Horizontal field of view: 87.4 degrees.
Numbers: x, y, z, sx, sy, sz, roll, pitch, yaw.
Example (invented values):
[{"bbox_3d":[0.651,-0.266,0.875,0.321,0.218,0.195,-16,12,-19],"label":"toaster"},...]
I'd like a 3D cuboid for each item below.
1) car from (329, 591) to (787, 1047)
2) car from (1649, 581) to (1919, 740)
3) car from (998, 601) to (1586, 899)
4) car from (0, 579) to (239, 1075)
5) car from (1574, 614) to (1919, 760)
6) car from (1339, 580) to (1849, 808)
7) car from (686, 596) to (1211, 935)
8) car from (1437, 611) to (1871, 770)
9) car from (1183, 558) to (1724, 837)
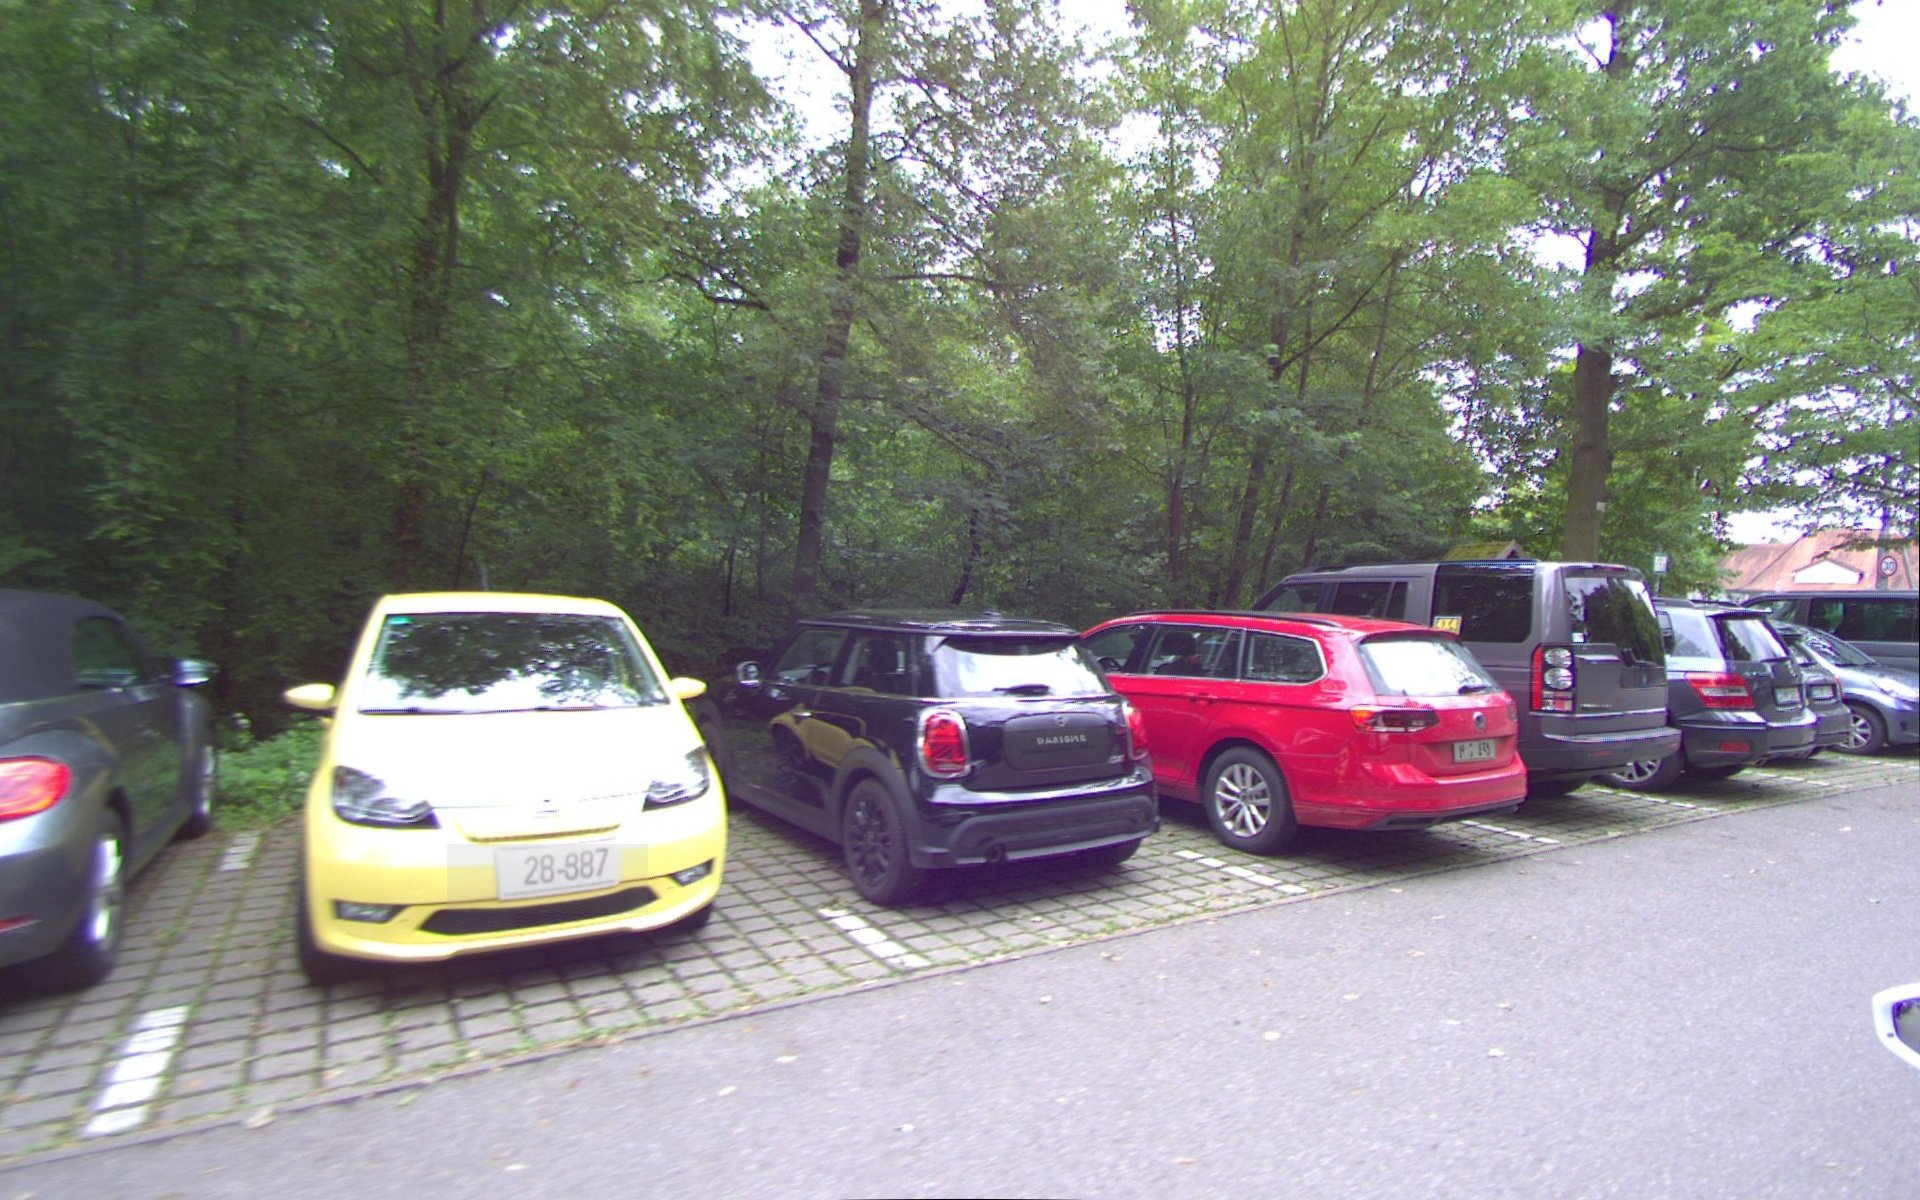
[{"bbox_3d":[-2.416,0.737,5.497,1.599,1.457,3.967,1,1,-30],"label":"car"},{"bbox_3d":[12.483,0.775,13.893,1.870,2.004,4.478,2,0,-31],"label":"car"},{"bbox_3d":[2.136,0.822,7.541,1.760,1.496,3.964,1,1,-32],"label":"car"},{"bbox_3d":[-4.475,0.659,4.428,1.713,1.457,3.967,1,1,-30],"label":"car"},{"bbox_3d":[10.442,0.987,13.082,1.786,1.533,3.799,1,0,-28],"label":"car"},{"bbox_3d":[6.127,0.733,10.195,1.804,1.789,3.965,1,1,-32],"label":"car"},{"bbox_3d":[-0.398,0.766,6.721,1.653,1.457,3.963,1,1,-33],"label":"car"},{"bbox_3d":[8.136,0.938,12.177,1.700,1.449,3.968,1,1,-30],"label":"car"},{"bbox_3d":[4.061,0.623,8.958,1.792,1.887,3.966,1,1,-31],"label":"car"}]
